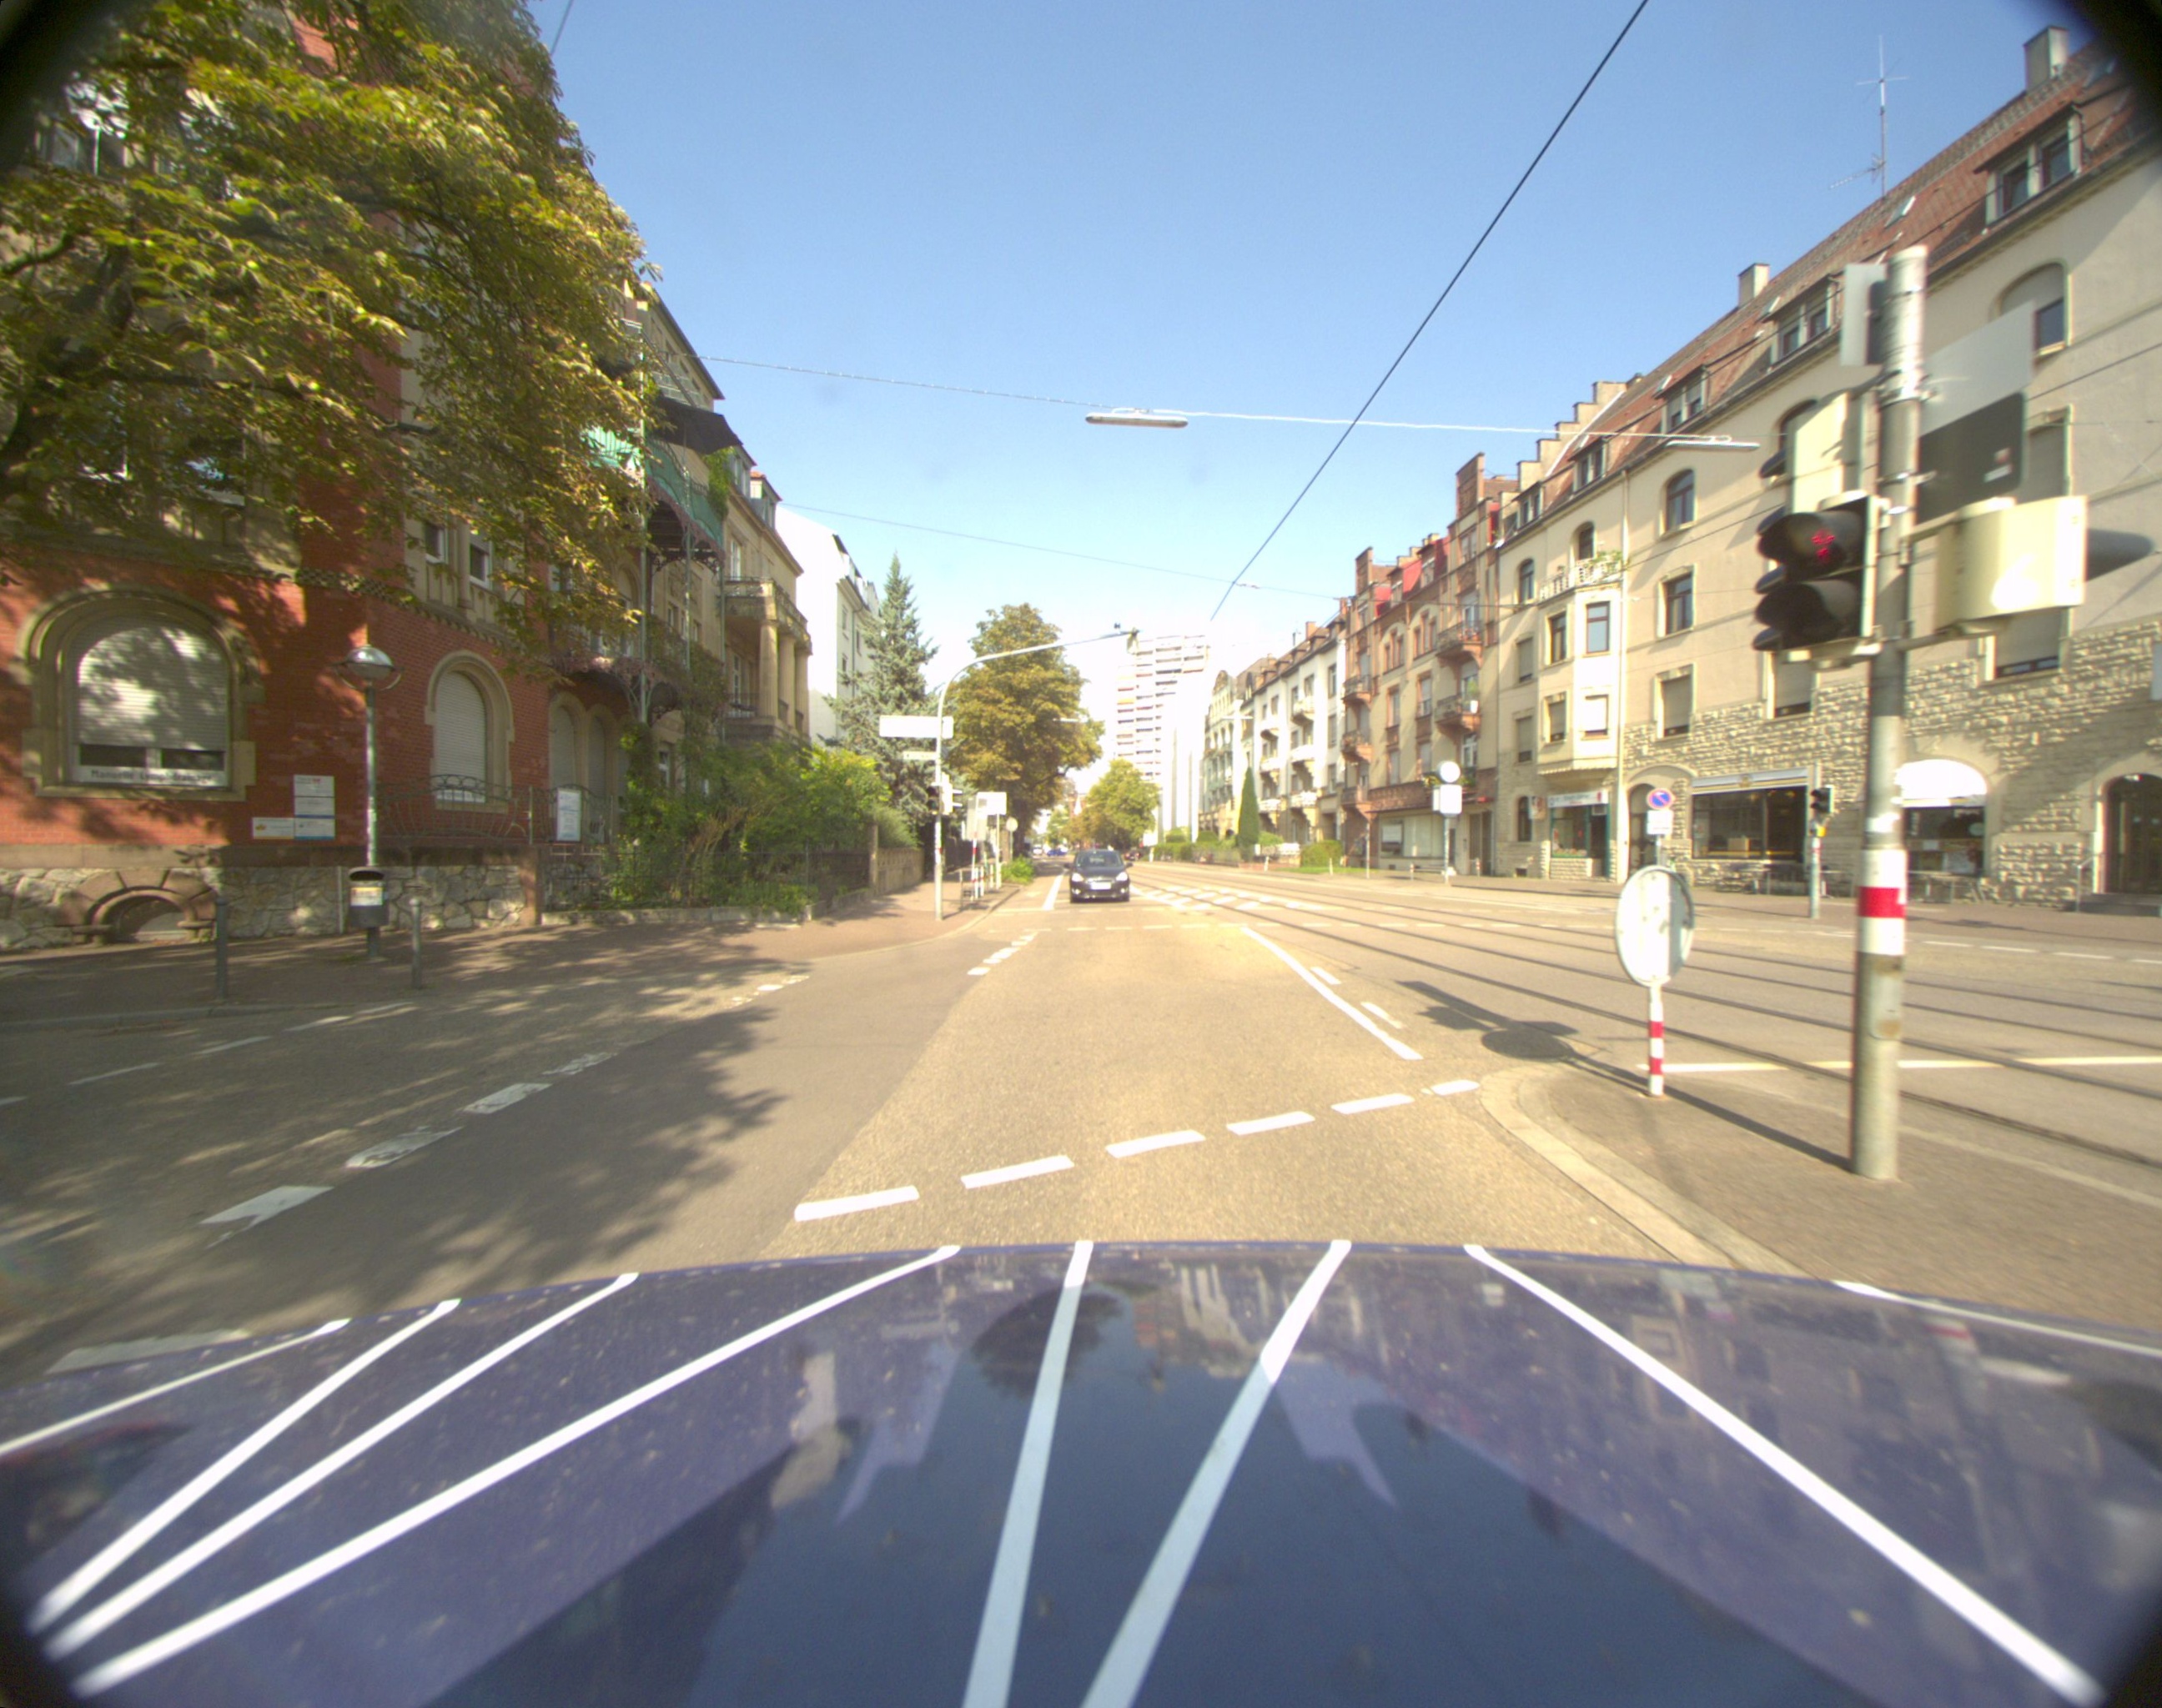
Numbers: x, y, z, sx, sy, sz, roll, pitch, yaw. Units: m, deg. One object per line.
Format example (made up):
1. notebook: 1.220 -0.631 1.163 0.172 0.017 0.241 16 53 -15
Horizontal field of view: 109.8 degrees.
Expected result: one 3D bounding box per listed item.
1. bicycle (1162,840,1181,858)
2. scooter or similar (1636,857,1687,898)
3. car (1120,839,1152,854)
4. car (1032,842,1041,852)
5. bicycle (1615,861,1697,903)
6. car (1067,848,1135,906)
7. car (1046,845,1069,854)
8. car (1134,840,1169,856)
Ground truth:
1. bicycle: 9.612 -0.507 80.679 1.016 1.848 3.551 -2 2 -10
2. scooter or similar: 17.003 0.671 22.260 0.443 1.151 1.091 -1 2 -41
3. car: 7.456 -0.960 103.121 4.007 2.002 1.995 0 1 -31
4. car: -10.254 -1.699 175.189 2.088 2.264 4.825 0 1 -3
5. bicycle: 16.423 0.765 21.750 0.546 1.097 1.893 0 1 -18
6. car: 0.523 0.596 21.862 1.775 1.460 3.999 -1 1 0
7. car: -4.449 -0.845 144.950 1.994 1.640 4.008 1 1 43
8. car: 8.793 -0.763 95.126 4.007 2.002 1.995 0 1 -31
